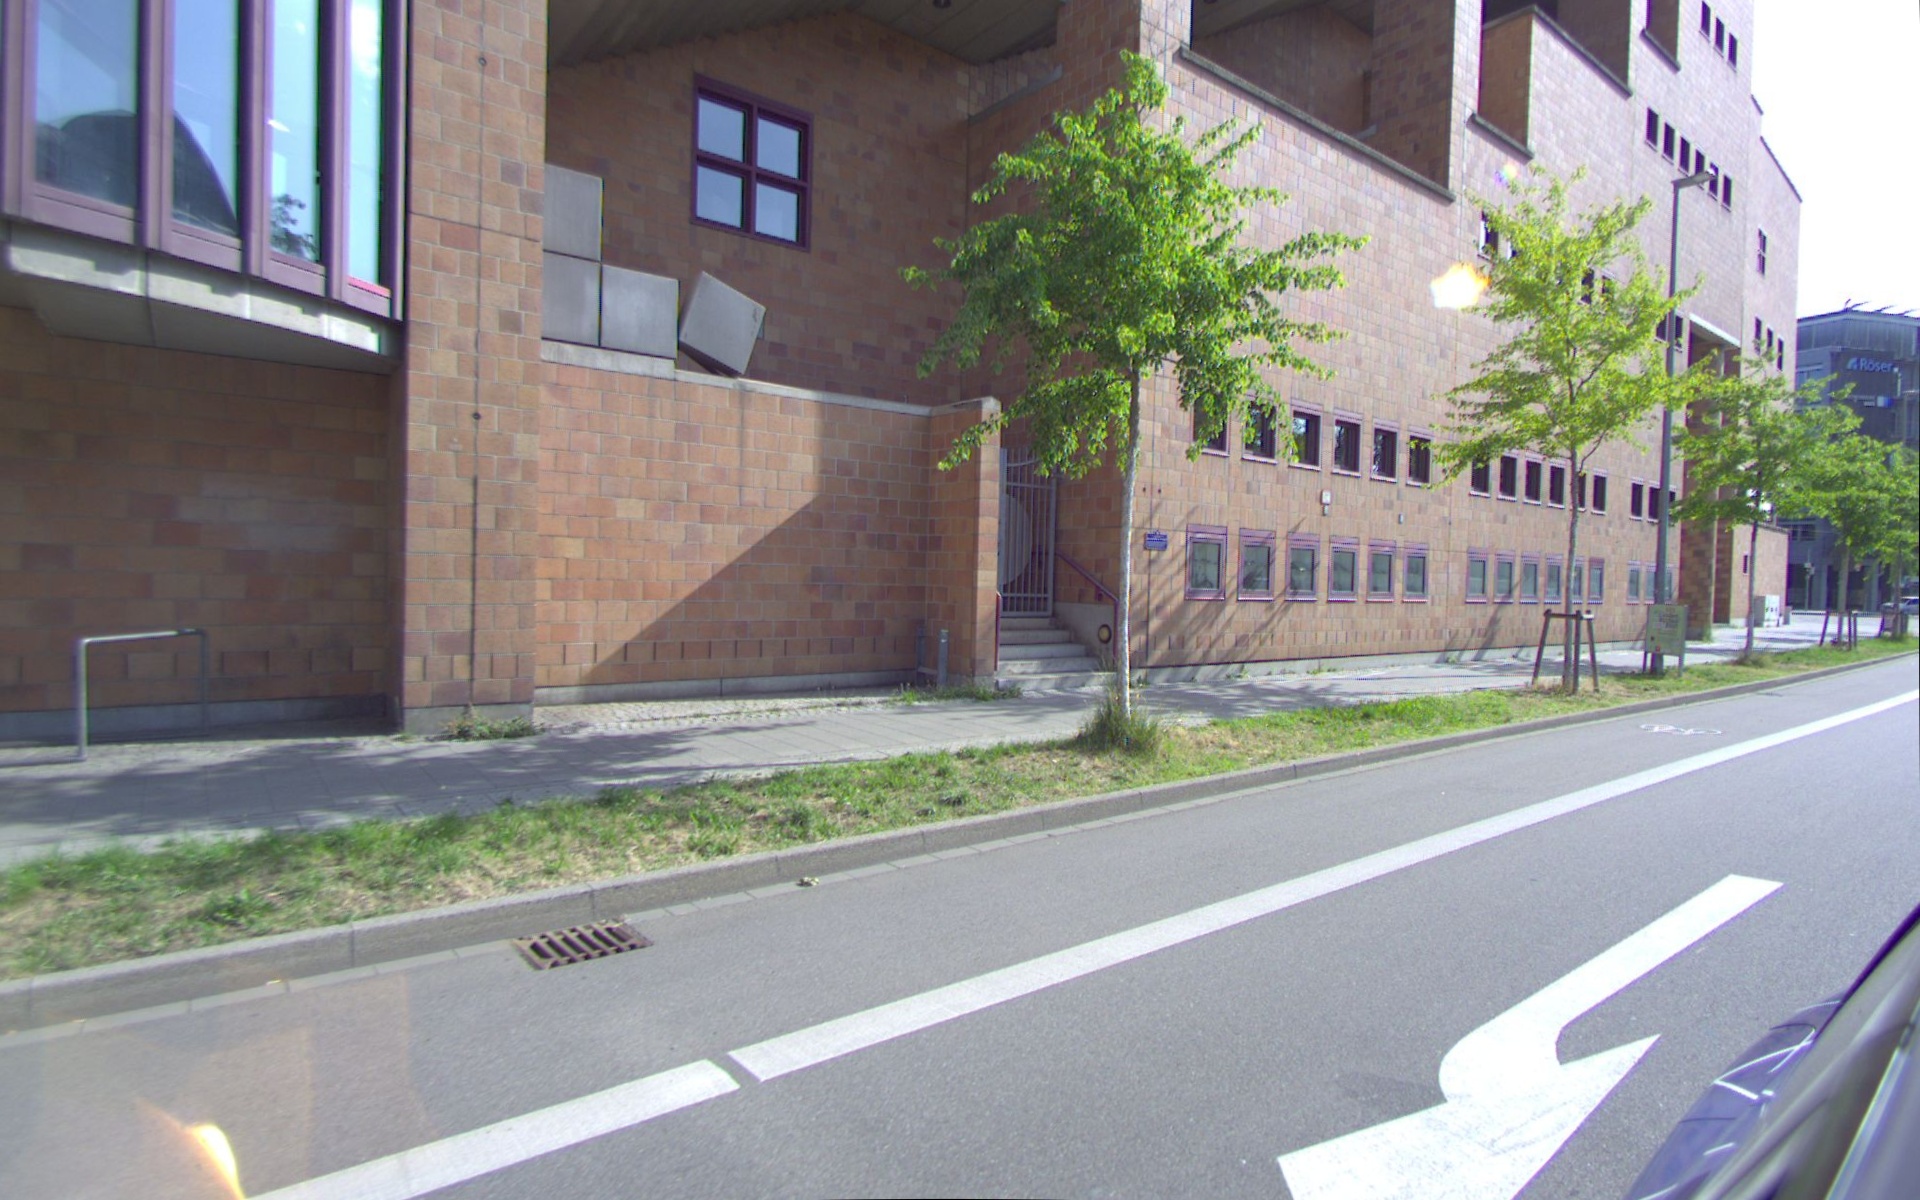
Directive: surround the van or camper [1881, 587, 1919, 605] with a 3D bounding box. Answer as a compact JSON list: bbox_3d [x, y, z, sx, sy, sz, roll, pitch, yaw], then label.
[{"bbox_3d":[73.895,-0.274,77.877,3.922,1.329,1.930,2,2,10],"label":"van or camper"}]
